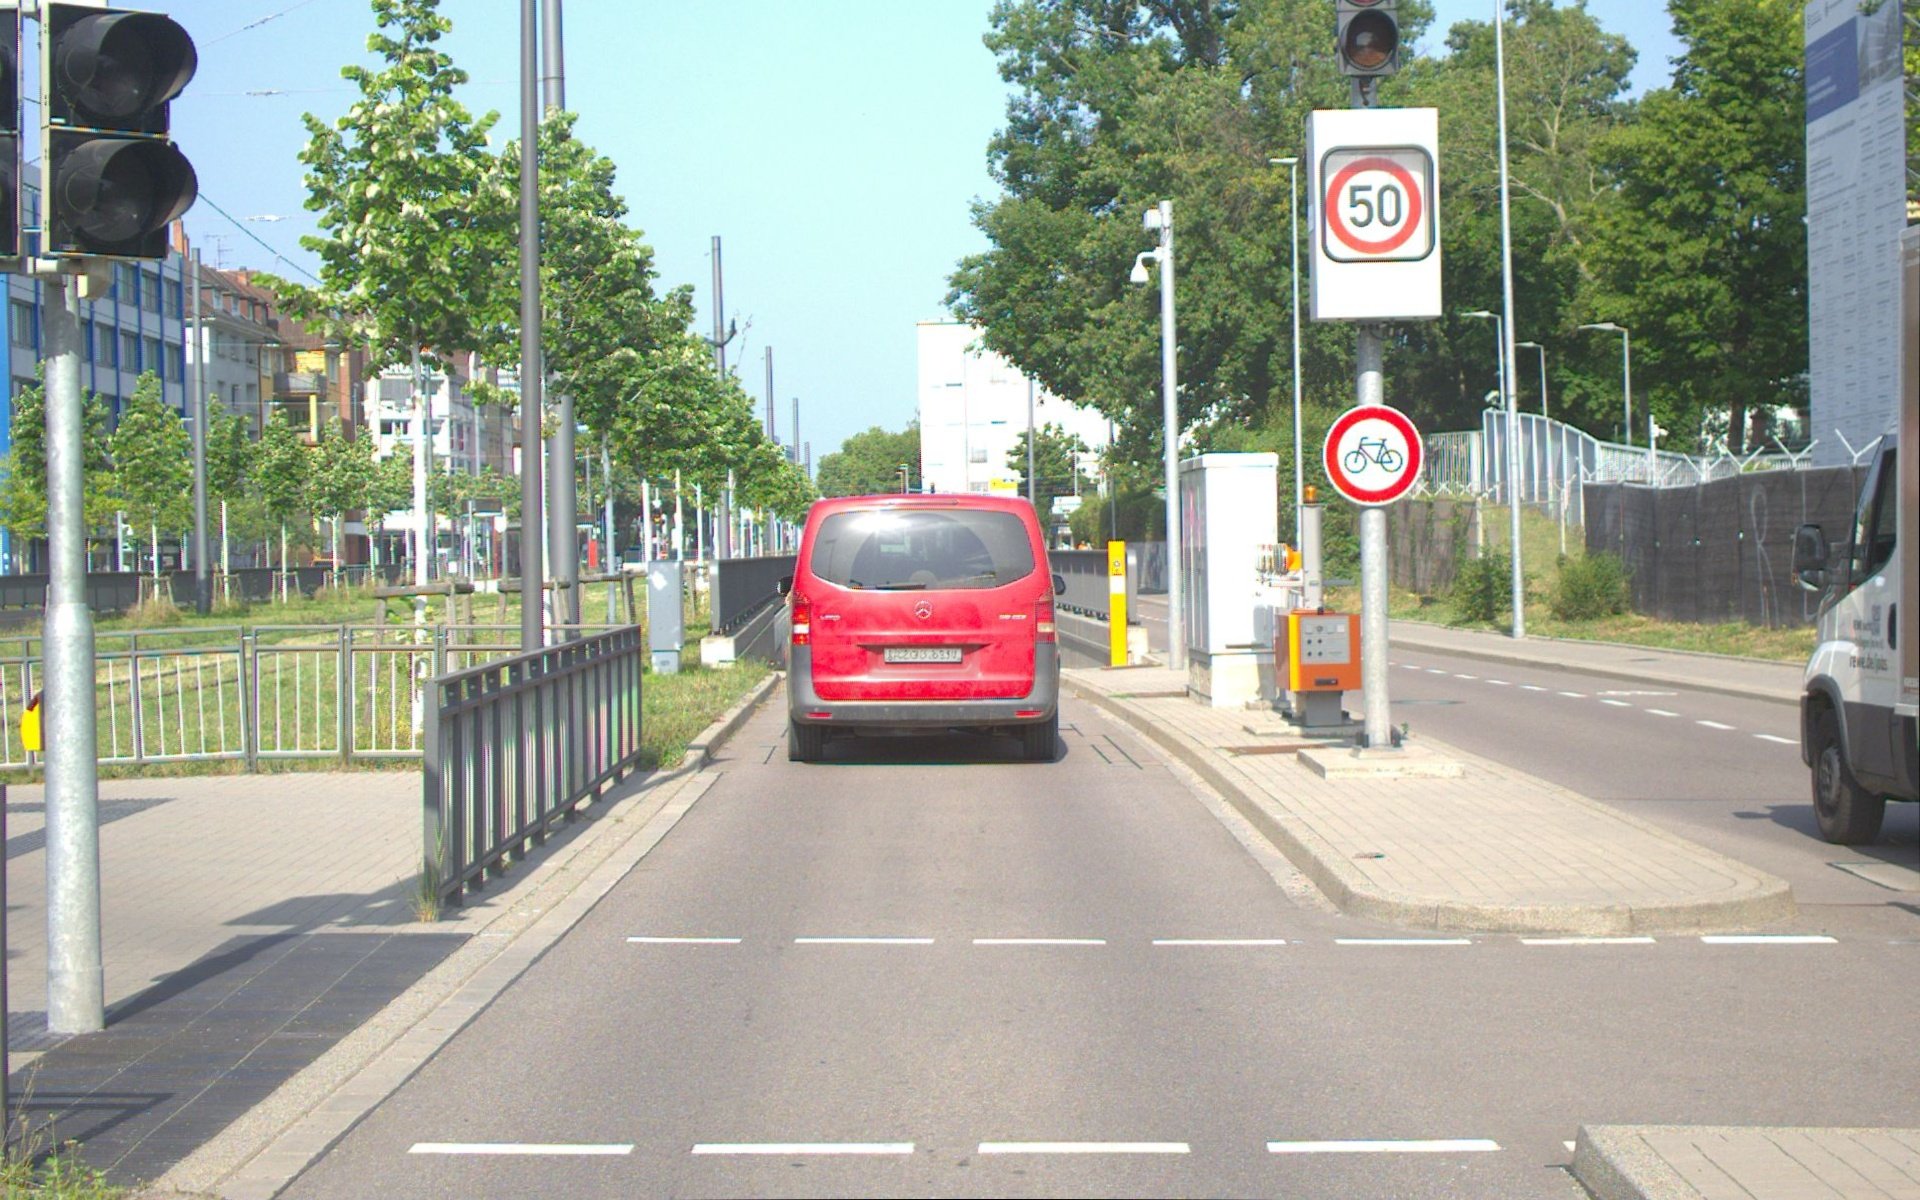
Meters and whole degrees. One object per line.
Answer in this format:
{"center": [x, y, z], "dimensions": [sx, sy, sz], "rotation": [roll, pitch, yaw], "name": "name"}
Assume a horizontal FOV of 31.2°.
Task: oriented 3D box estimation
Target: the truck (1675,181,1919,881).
{"center": [5.413, -0.291, 15.412], "dimensions": [2.502, 3.050, 7.821], "rotation": [1, 0, -2], "name": "truck"}

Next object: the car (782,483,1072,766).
{"center": [-0.226, 0.133, 24.835], "dimensions": [1.901, 1.853, 4.000], "rotation": [1, 1, 0], "name": "car"}

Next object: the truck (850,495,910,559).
{"center": [-4.874, -4.360, 207.267], "dimensions": [3.390, 3.713, 10.452], "rotation": [-1, 1, -2], "name": "truck"}
